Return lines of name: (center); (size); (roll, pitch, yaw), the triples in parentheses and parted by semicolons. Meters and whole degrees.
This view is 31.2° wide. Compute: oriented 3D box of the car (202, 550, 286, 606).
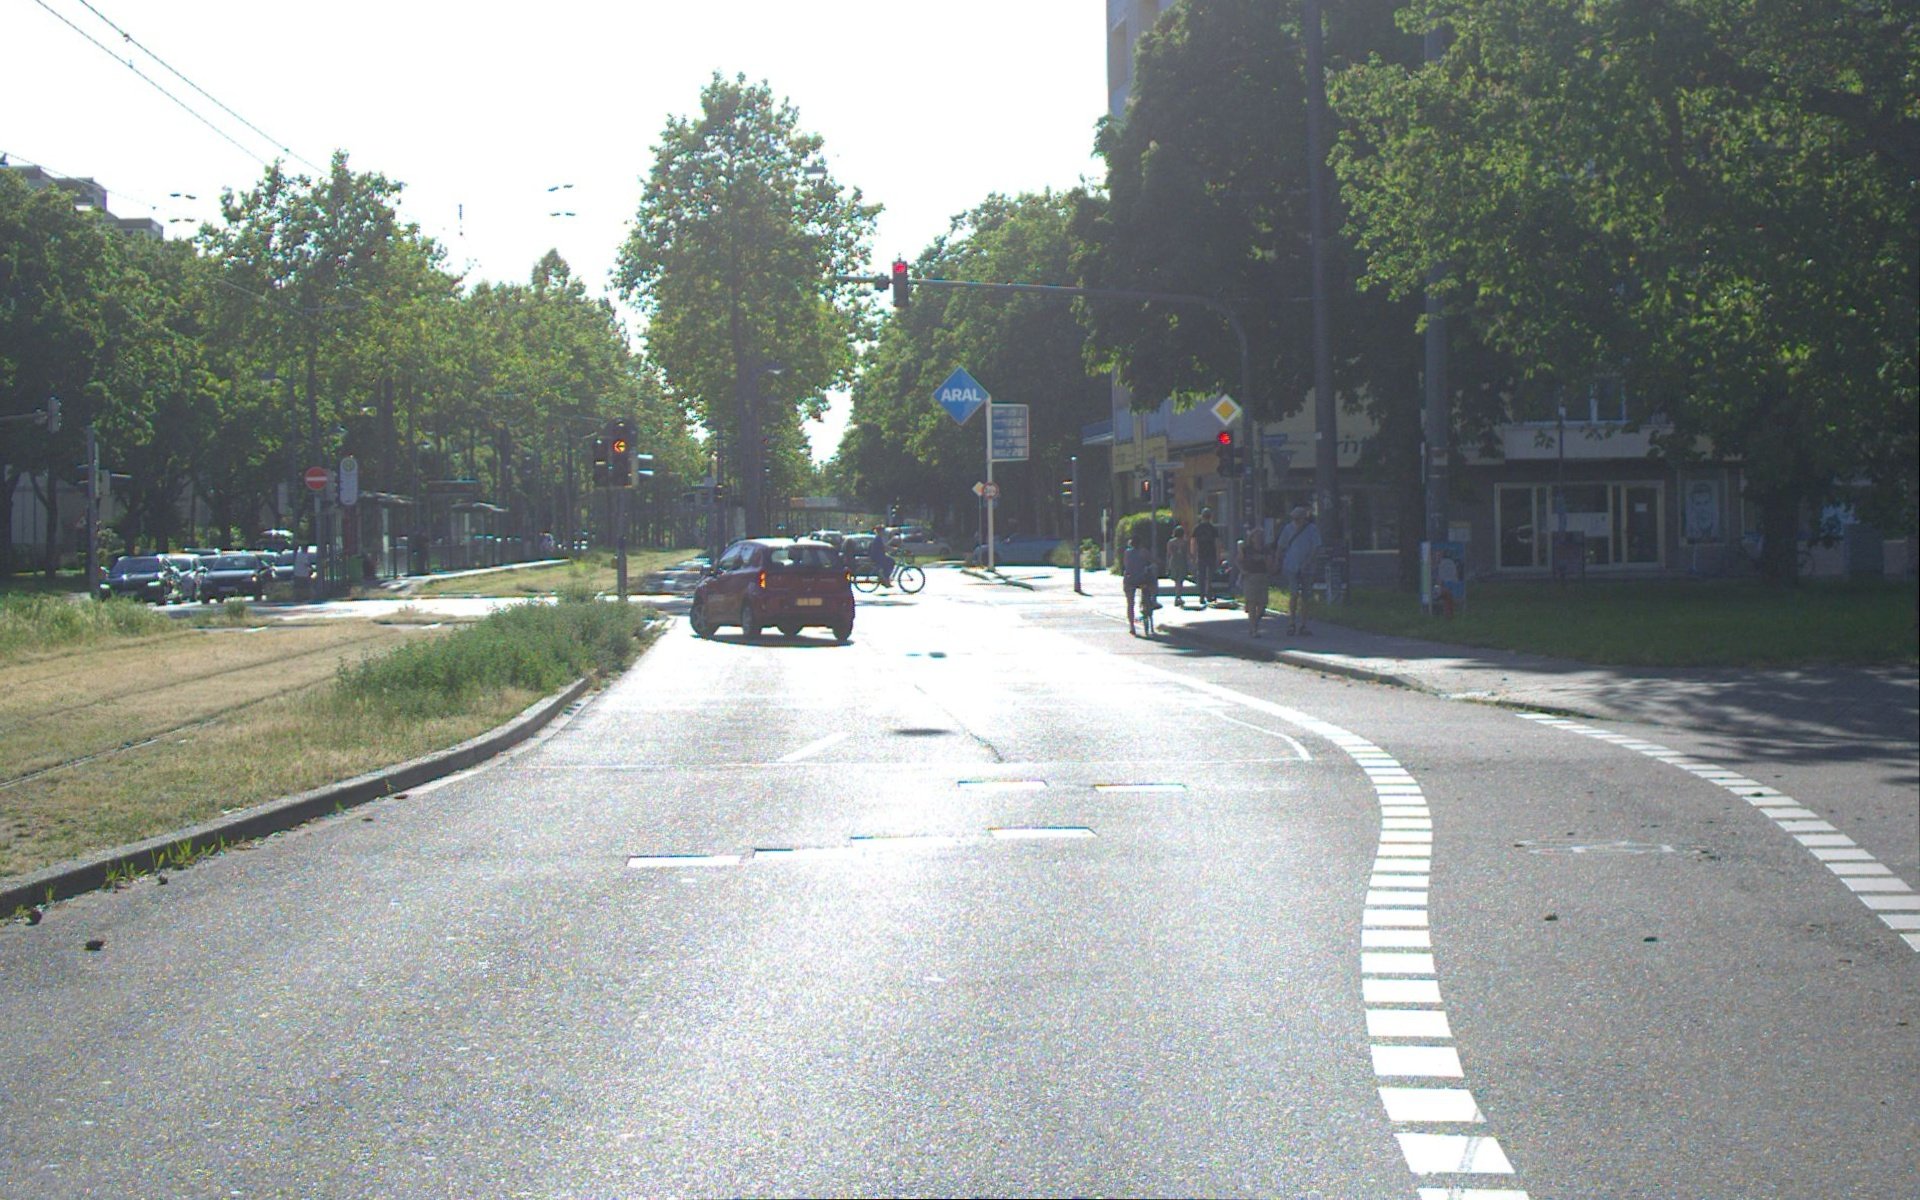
car: (-20.665, -0.652, 99.390); (1.687, 1.527, 4.361); (-1, 1, -3)

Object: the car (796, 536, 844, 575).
car: (-6.099, -1.934, 149.343); (1.893, 1.605, 4.501); (2, 1, -4)

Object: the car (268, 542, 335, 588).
car: (-21.245, -1.152, 110.973); (1.566, 1.397, 3.915); (2, 1, -3)

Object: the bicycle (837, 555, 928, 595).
bicycle: (-2.050, -0.668, 90.786); (2.253, 0.984, 0.788); (0, 6, 13)

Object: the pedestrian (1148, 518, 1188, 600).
pedestrian: (3.908, -0.765, 64.544); (0.647, 1.517, 0.496); (2, 1, 10)

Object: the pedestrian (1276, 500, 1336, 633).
pedestrian: (4.792, -0.464, 47.663); (0.703, 1.783, 0.694); (-3, 2, 3)

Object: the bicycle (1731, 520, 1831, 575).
bicycle: (21.716, -1.395, 90.954); (2.470, 1.394, 0.608); (2, 1, -4)

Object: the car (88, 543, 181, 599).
car: (-23.730, -0.856, 98.947); (1.806, 1.527, 4.361); (-1, 1, -3)

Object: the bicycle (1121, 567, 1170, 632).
bicycle: (2.878, -0.017, 53.525); (0.648, 0.969, 1.803); (2, 1, 0)

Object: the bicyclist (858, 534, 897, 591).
bicyclist: (-2.187, -0.993, 90.801); (0.769, 1.466, 0.897); (-1, 2, 14)

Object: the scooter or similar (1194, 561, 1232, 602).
scooter or similar: (4.701, -0.341, 64.004); (0.597, 0.735, 0.681); (2, 1, -3)

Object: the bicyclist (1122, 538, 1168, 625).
bicyclist: (2.879, -0.289, 53.511); (0.638, 1.318, 0.803); (2, 1, -1)

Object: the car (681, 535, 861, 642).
car: (-2.886, -0.199, 51.850); (1.694, 1.503, 3.700); (1, 1, -20)

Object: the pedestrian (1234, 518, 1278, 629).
pedestrian: (4.122, -0.371, 47.921); (0.529, 1.523, 0.627); (-2, 1, 3)

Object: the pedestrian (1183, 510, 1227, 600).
pedestrian: (4.601, -0.846, 64.573); (0.730, 1.676, 0.532); (2, 1, 10)

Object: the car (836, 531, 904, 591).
car: (-2.934, -1.288, 111.548); (1.968, 1.853, 4.001); (2, 1, -4)

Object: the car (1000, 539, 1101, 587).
car: (3.752, -1.547, 142.368); (3.988, 1.853, 2.011); (2, 1, 6)

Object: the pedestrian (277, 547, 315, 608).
pedestrian: (-17.723, -0.606, 91.739); (0.891, 1.601, 0.613); (2, 1, -3)
